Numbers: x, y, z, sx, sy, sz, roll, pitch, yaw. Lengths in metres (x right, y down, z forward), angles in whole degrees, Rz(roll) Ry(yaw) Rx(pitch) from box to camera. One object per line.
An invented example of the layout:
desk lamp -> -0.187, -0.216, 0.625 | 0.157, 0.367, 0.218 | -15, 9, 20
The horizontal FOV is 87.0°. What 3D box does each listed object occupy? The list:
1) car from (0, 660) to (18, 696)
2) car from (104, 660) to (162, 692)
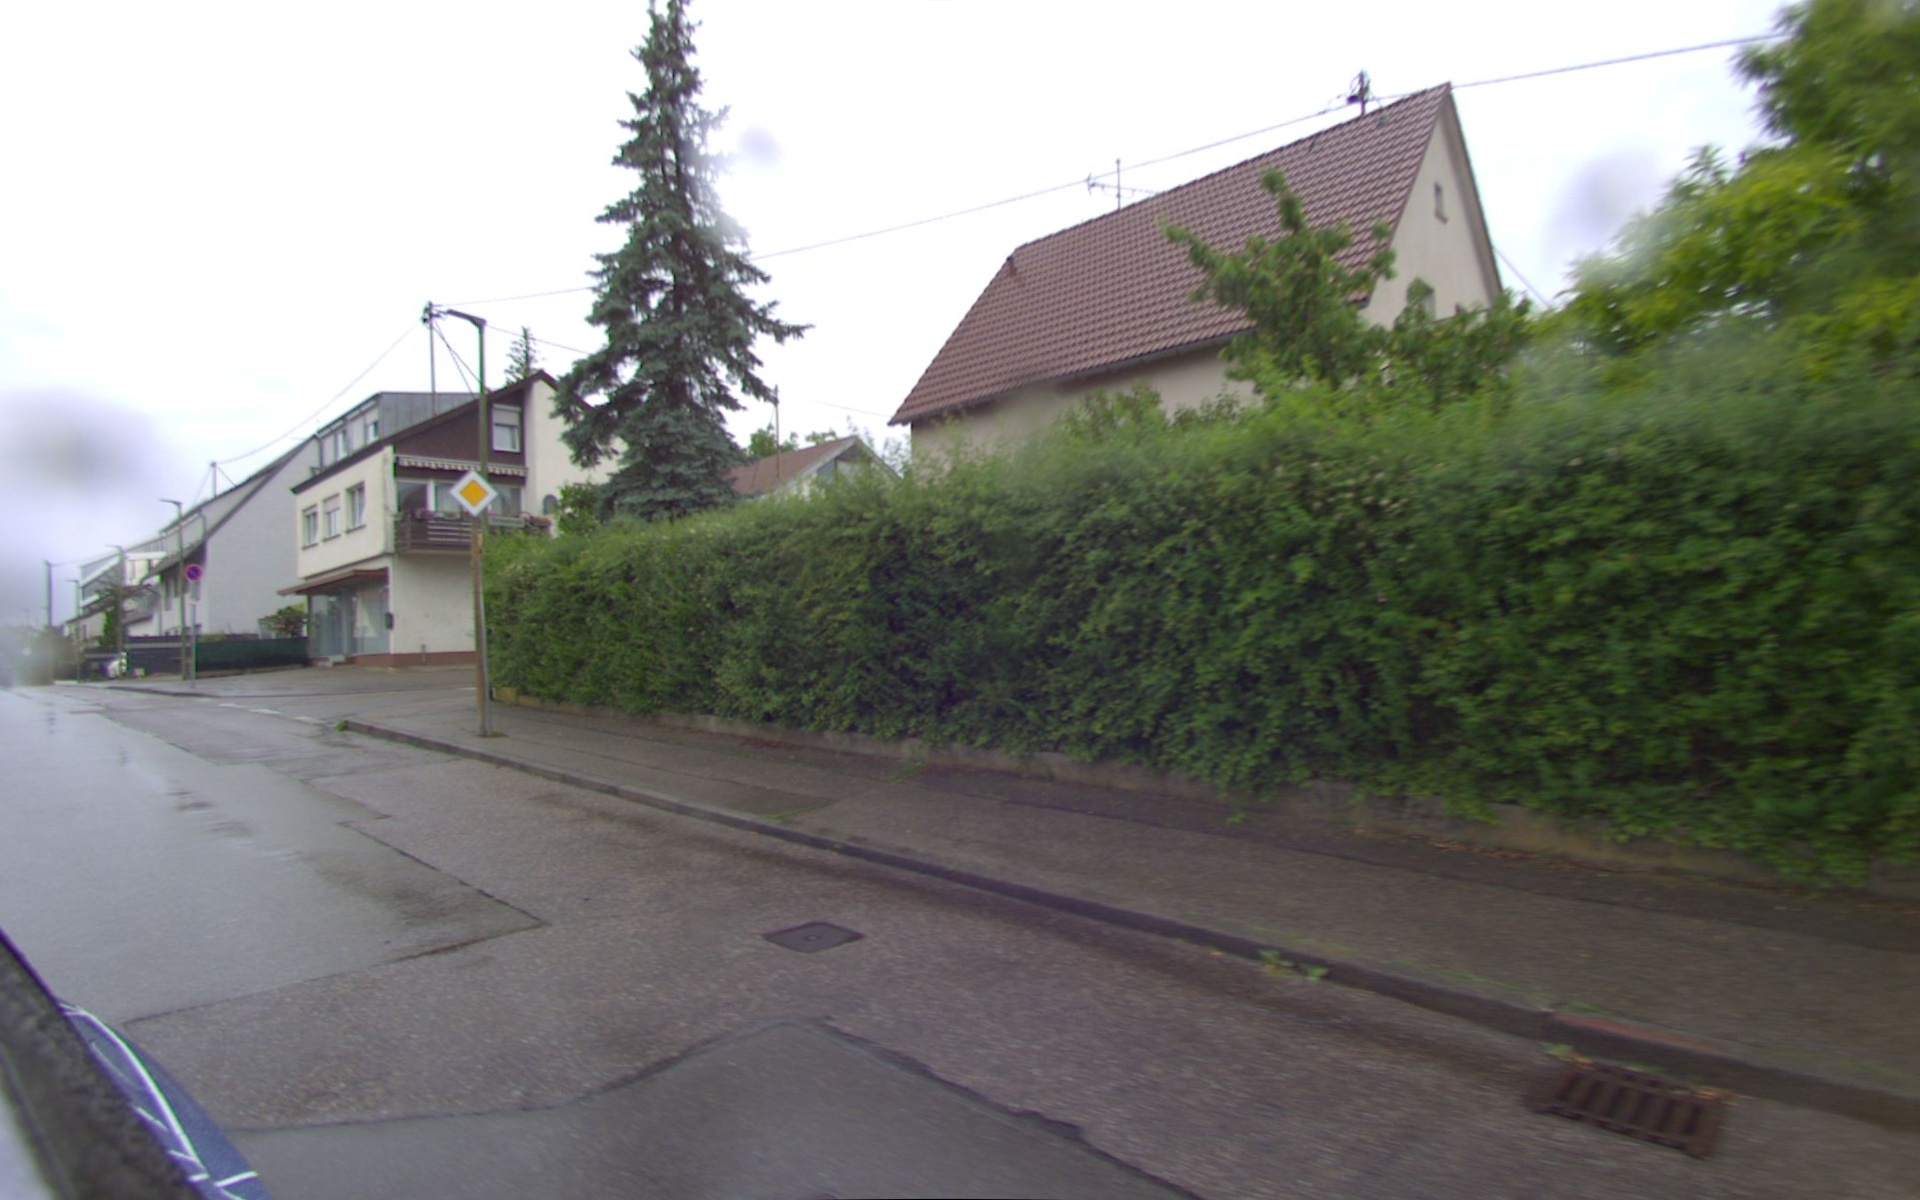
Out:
car -> -44.740, 3.562, 46.429 | 3.999, 1.544, 1.872 | -2, -3, 42
car -> -44.609, 4.054, 54.570 | 3.999, 1.544, 1.872 | -2, -3, 42
